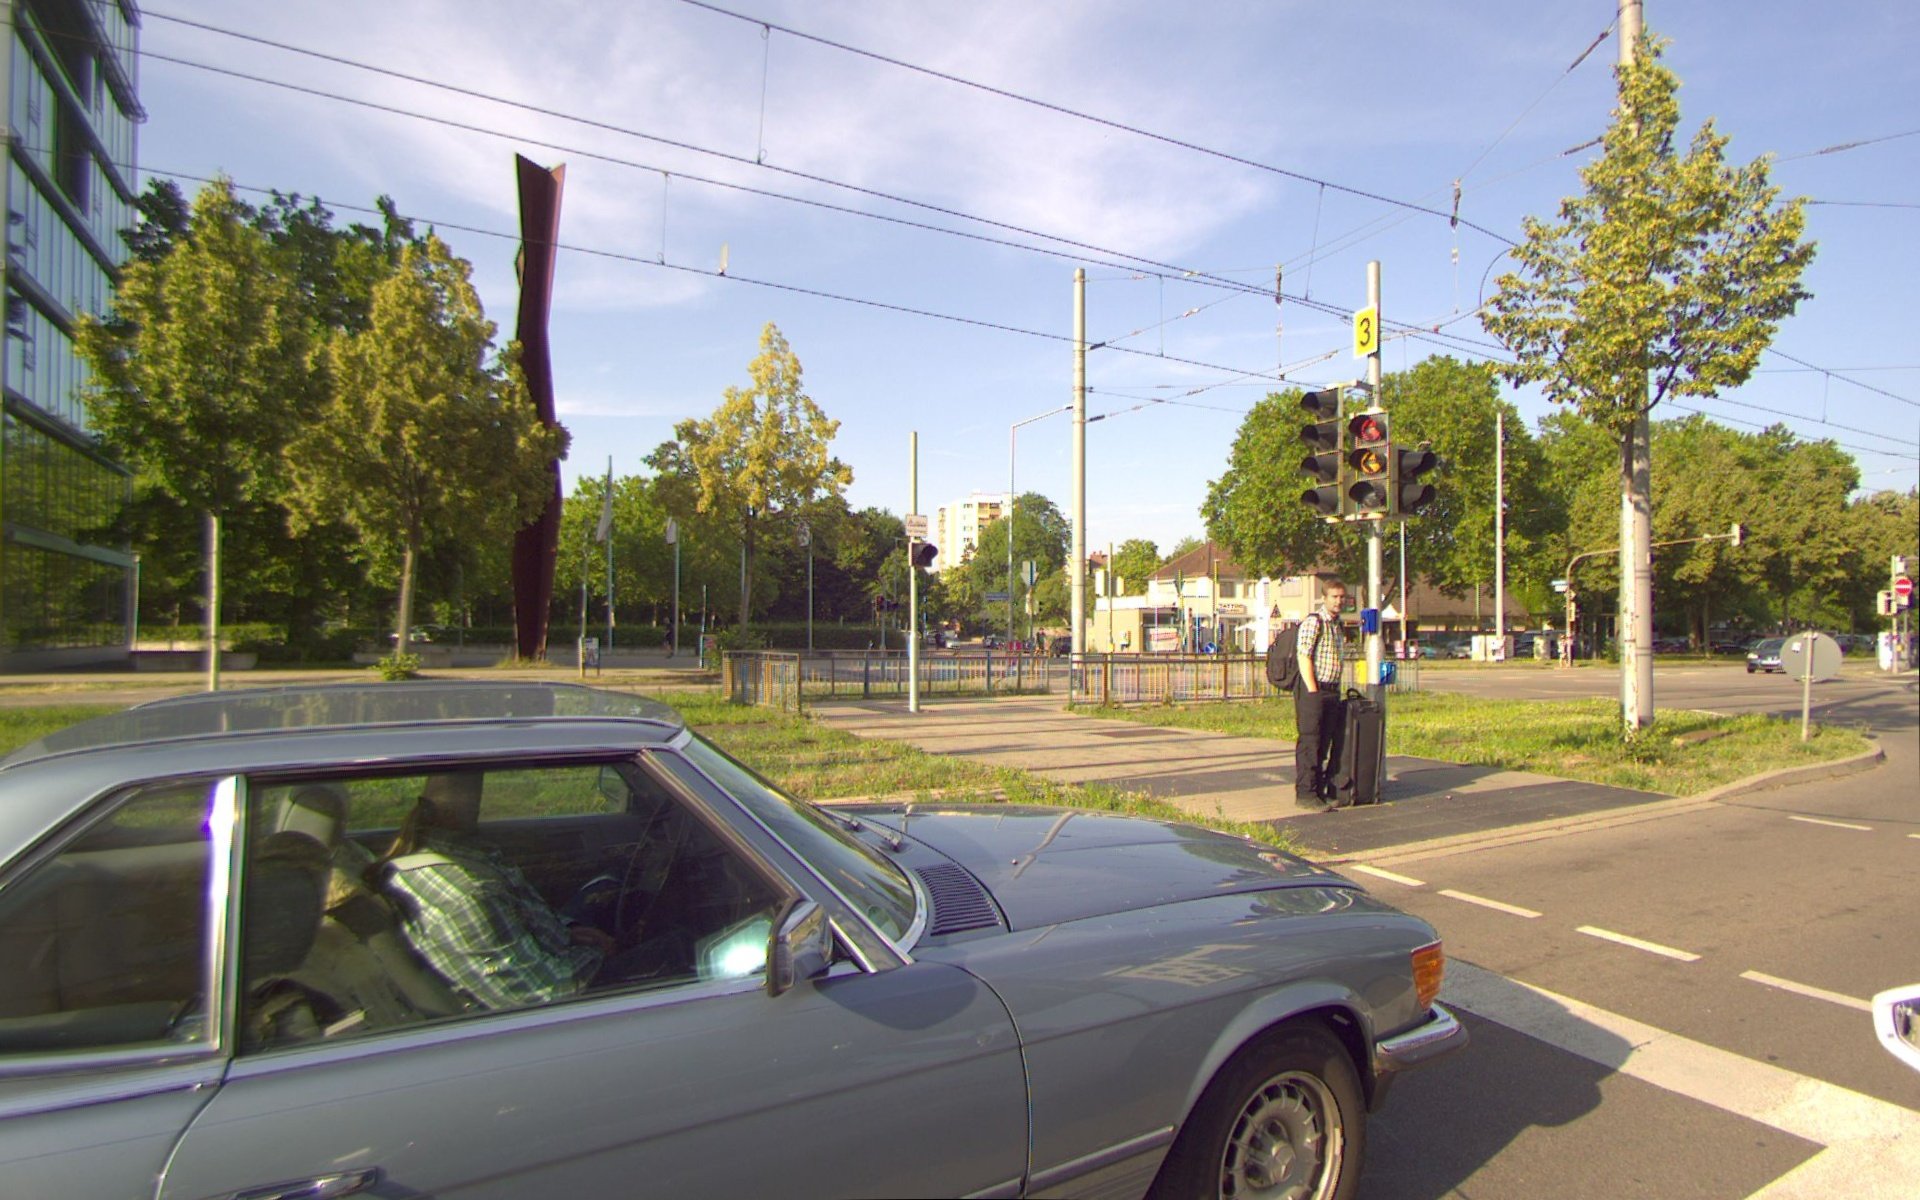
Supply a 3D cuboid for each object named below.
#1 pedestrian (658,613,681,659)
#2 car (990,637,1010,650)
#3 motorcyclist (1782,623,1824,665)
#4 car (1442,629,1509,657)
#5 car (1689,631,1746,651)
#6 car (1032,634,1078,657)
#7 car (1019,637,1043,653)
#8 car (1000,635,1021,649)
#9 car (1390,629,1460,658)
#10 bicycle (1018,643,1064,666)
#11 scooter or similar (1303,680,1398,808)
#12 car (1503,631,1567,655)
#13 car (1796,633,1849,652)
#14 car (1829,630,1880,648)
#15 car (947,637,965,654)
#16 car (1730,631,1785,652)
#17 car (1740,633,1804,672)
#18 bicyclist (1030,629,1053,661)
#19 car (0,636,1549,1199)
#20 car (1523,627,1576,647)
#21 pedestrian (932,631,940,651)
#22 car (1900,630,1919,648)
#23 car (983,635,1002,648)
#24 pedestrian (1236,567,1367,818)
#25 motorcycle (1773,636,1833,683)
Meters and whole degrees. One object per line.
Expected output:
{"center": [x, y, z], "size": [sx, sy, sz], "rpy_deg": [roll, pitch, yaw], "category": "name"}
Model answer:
{"center": [-13.701, 1.691, 47.413], "size": [0.864, 2.135, 0.724], "rpy_deg": [-1, -3, -1], "category": "pedestrian"}
{"center": [4.674, 5.104, 117.655], "size": [1.667, 1.491, 3.941], "rpy_deg": [0, -2, -8], "category": "car"}
{"center": [25.392, 1.323, 30.268], "size": [0.770, 1.219, 0.846], "rpy_deg": [1, 1, 26], "category": "motorcyclist"}
{"center": [33.443, 2.765, 65.208], "size": [3.945, 1.773, 1.876], "rpy_deg": [1, -2, -25], "category": "car"}
{"center": [58.628, 3.169, 77.728], "size": [3.945, 1.580, 1.876], "rpy_deg": [1, -2, -25], "category": "car"}
{"center": [7.461, 3.556, 79.241], "size": [1.971, 1.750, 3.979], "rpy_deg": [1, -2, -22], "category": "car"}
{"center": [7.061, 4.451, 100.313], "size": [1.667, 1.491, 3.941], "rpy_deg": [0, -2, -8], "category": "car"}
{"center": [5.588, 4.699, 111.826], "size": [1.667, 1.491, 3.941], "rpy_deg": [0, -2, -8], "category": "car"}
{"center": [29.218, 2.714, 63.133], "size": [3.945, 1.773, 1.876], "rpy_deg": [1, -2, -25], "category": "car"}
{"center": [3.857, 2.594, 47.730], "size": [2.168, 1.055, 0.697], "rpy_deg": [-1, -2, 38], "category": "bicycle"}
{"center": [3.091, 1.121, 7.970], "size": [0.424, 0.919, 0.546], "rpy_deg": [1, 0, -29], "category": "scooter or similar"}
{"center": [38.829, 2.928, 67.823], "size": [3.945, 1.580, 1.876], "rpy_deg": [1, -2, -25], "category": "car"}
{"center": [72.126, 3.550, 83.982], "size": [3.945, 1.580, 1.876], "rpy_deg": [1, -2, -25], "category": "car"}
{"center": [76.697, 3.347, 86.092], "size": [3.945, 1.580, 1.876], "rpy_deg": [1, -2, -25], "category": "car"}
{"center": [-0.415, 5.133, 113.606], "size": [1.961, 1.806, 4.000], "rpy_deg": [0, -2, -1], "category": "car"}
{"center": [63.613, 3.316, 80.086], "size": [3.945, 1.580, 1.876], "rpy_deg": [1, -2, -25], "category": "car"}
{"center": [32.605, 2.085, 40.280], "size": [1.710, 1.481, 4.549], "rpy_deg": [-2, -3, 42], "category": "car"}
{"center": [3.871, 2.137, 47.733], "size": [0.836, 1.512, 0.697], "rpy_deg": [-1, -2, 38], "category": "bicyclist"}
{"center": [-0.798, 0.807, 2.206], "size": [4.349, 1.348, 1.754], "rpy_deg": [1, 0, -31], "category": "car"}
{"center": [47.881, 3.040, 81.574], "size": [3.945, 1.580, 1.876], "rpy_deg": [1, -2, -25], "category": "car"}
{"center": [-2.020, 3.488, 84.938], "size": [0.654, 1.654, 0.664], "rpy_deg": [0, -1, -2], "category": "pedestrian"}
{"center": [87.809, 3.573, 91.469], "size": [3.945, 1.580, 1.876], "rpy_deg": [1, -2, -25], "category": "car"}
{"center": [3.967, 5.062, 123.444], "size": [1.667, 1.491, 3.941], "rpy_deg": [0, -2, -8], "category": "car"}
{"center": [2.619, 0.674, 7.731], "size": [0.628, 1.816, 0.696], "rpy_deg": [1, 0, -29], "category": "pedestrian"}
{"center": [25.375, 1.769, 30.283], "size": [0.806, 1.280, 2.546], "rpy_deg": [1, 0, 27], "category": "motorcycle"}
